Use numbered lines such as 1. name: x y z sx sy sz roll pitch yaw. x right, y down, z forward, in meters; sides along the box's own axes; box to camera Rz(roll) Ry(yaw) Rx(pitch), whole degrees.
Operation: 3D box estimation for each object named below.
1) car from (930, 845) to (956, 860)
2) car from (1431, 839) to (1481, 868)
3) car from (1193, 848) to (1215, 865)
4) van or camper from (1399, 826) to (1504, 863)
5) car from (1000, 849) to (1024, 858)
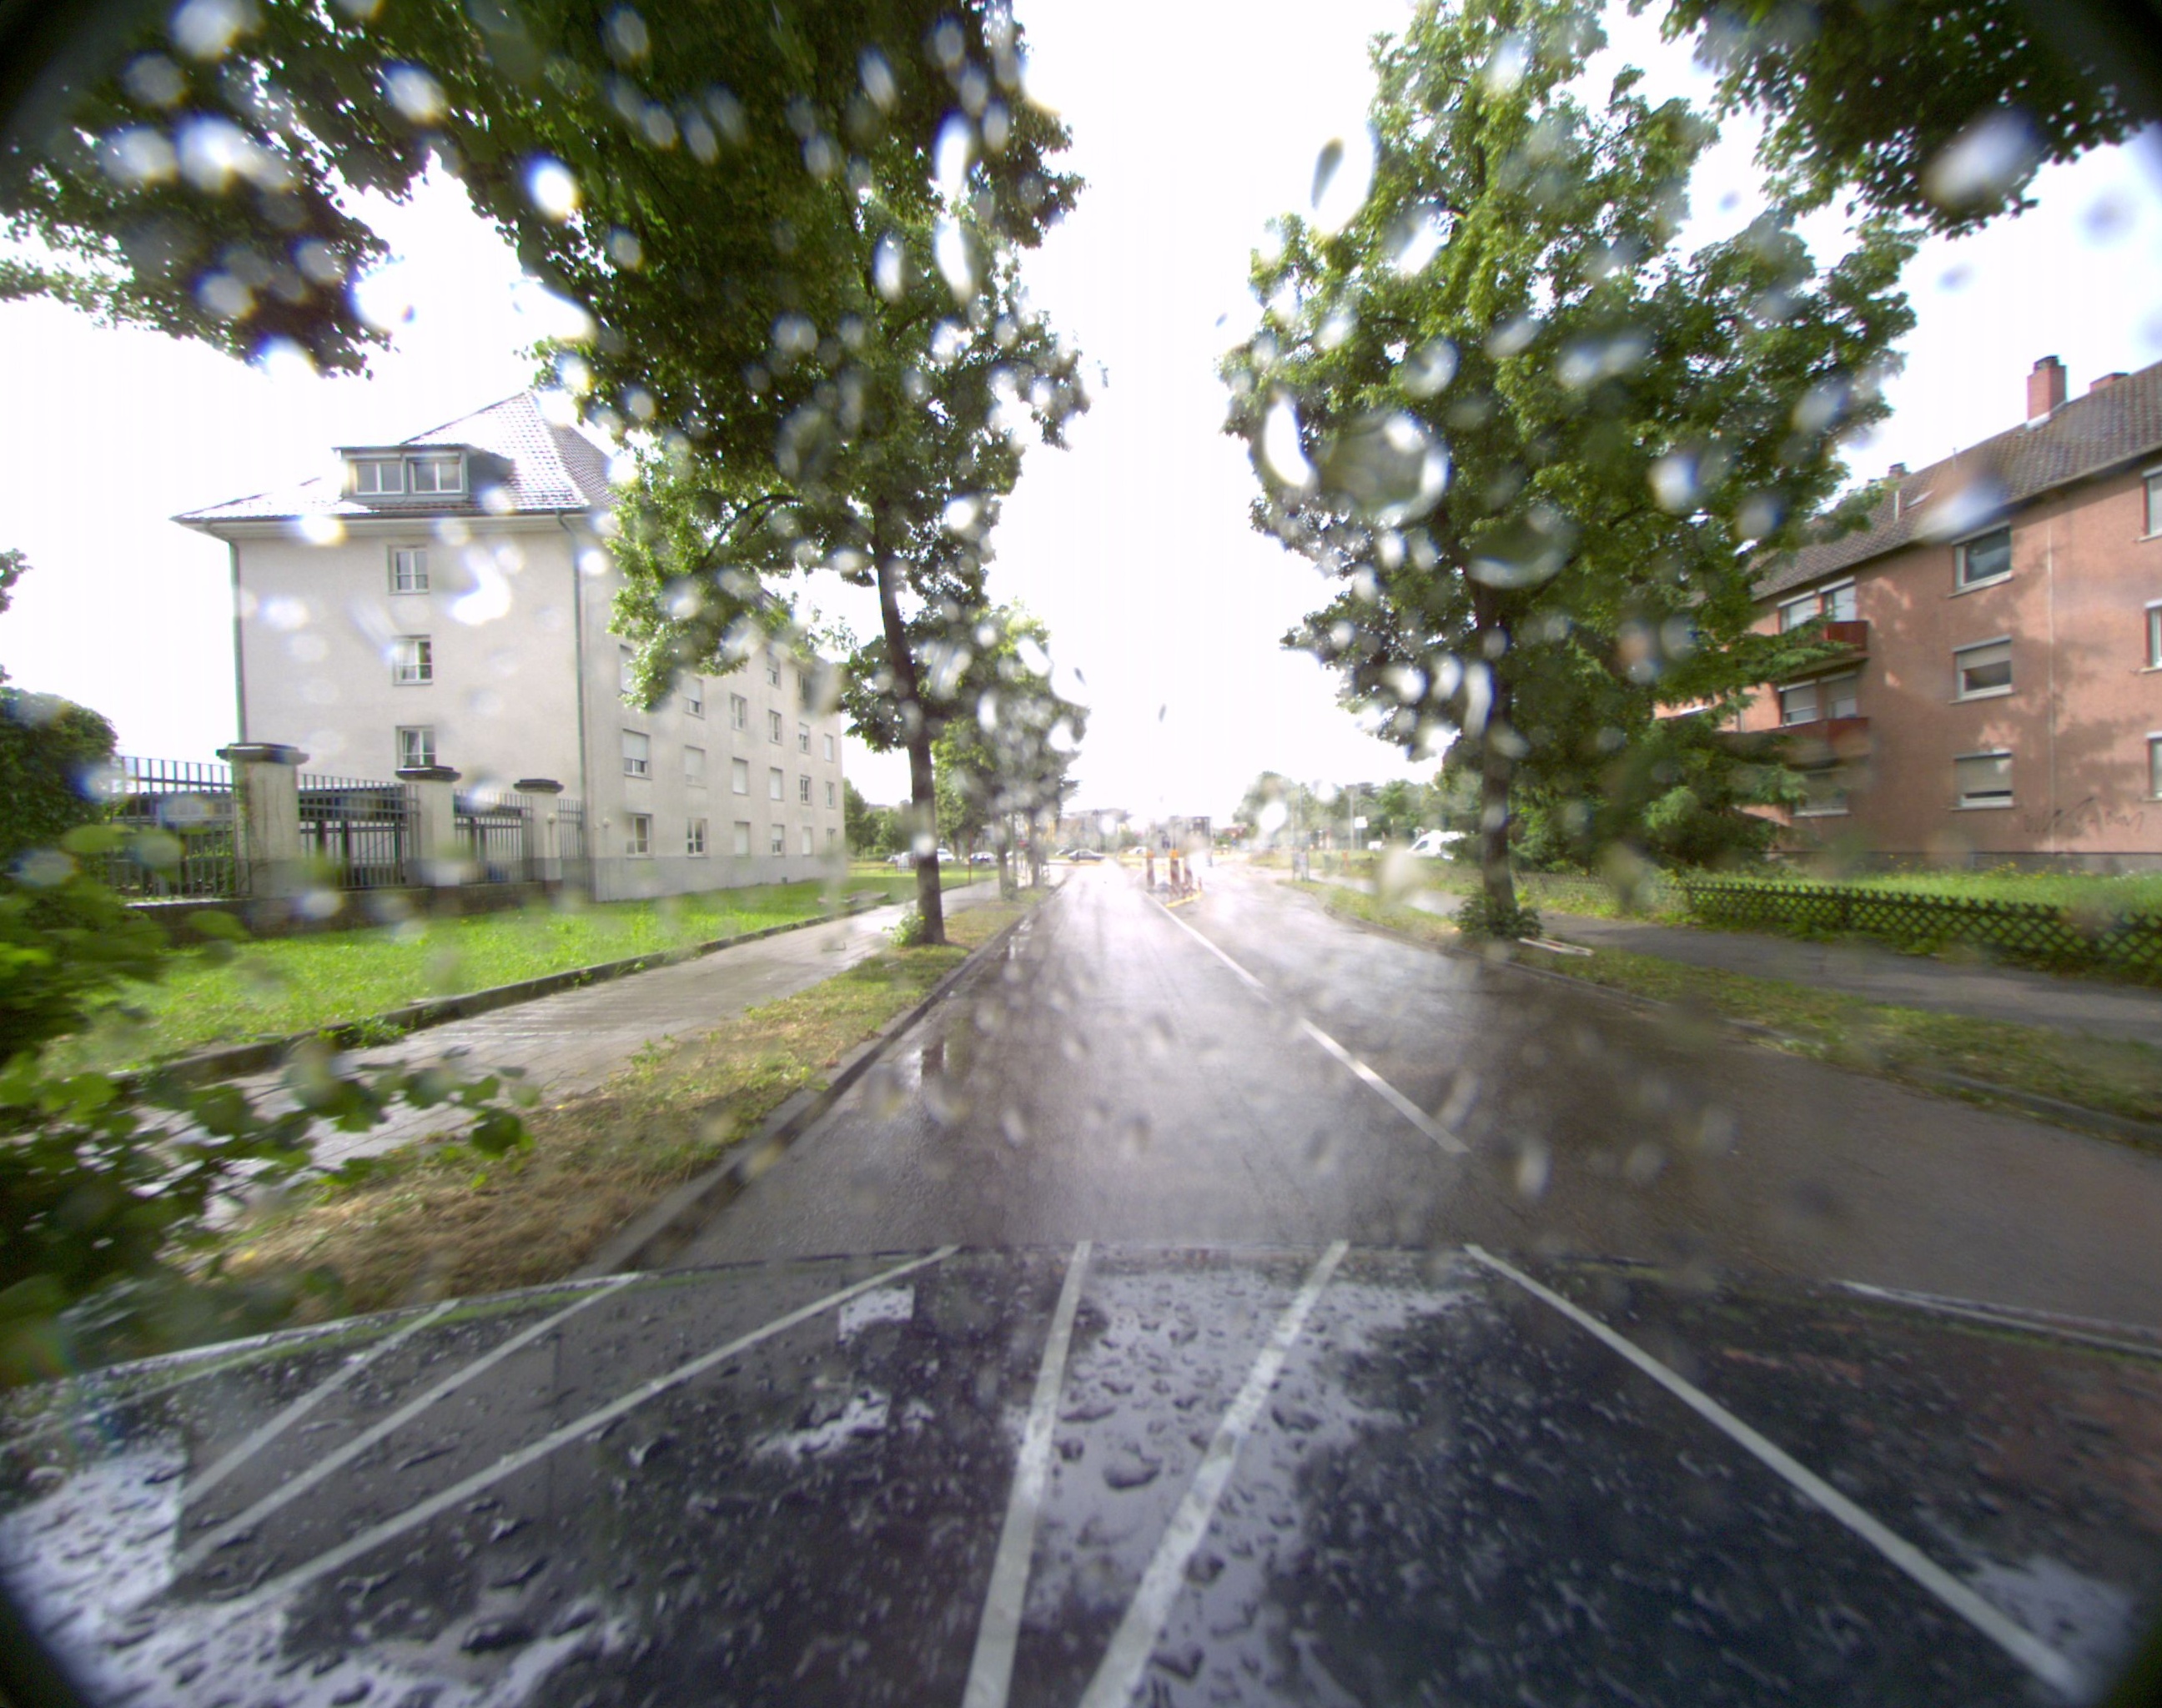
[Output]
1. car: -16.981 -0.195 93.368 1.895 1.704 4.219 -1 1 -28
2. car: 23.232 -0.057 47.234 1.757 1.608 4.330 -2 1 12
3. car: 11.365 0.219 70.479 1.683 1.499 3.794 -1 0 4
4. van or camper: 28.439 -0.702 58.481 6.964 2.632 2.516 -1 1 32
5. car: -12.732 -0.073 140.536 4.124 1.521 1.665 -2 0 -30
